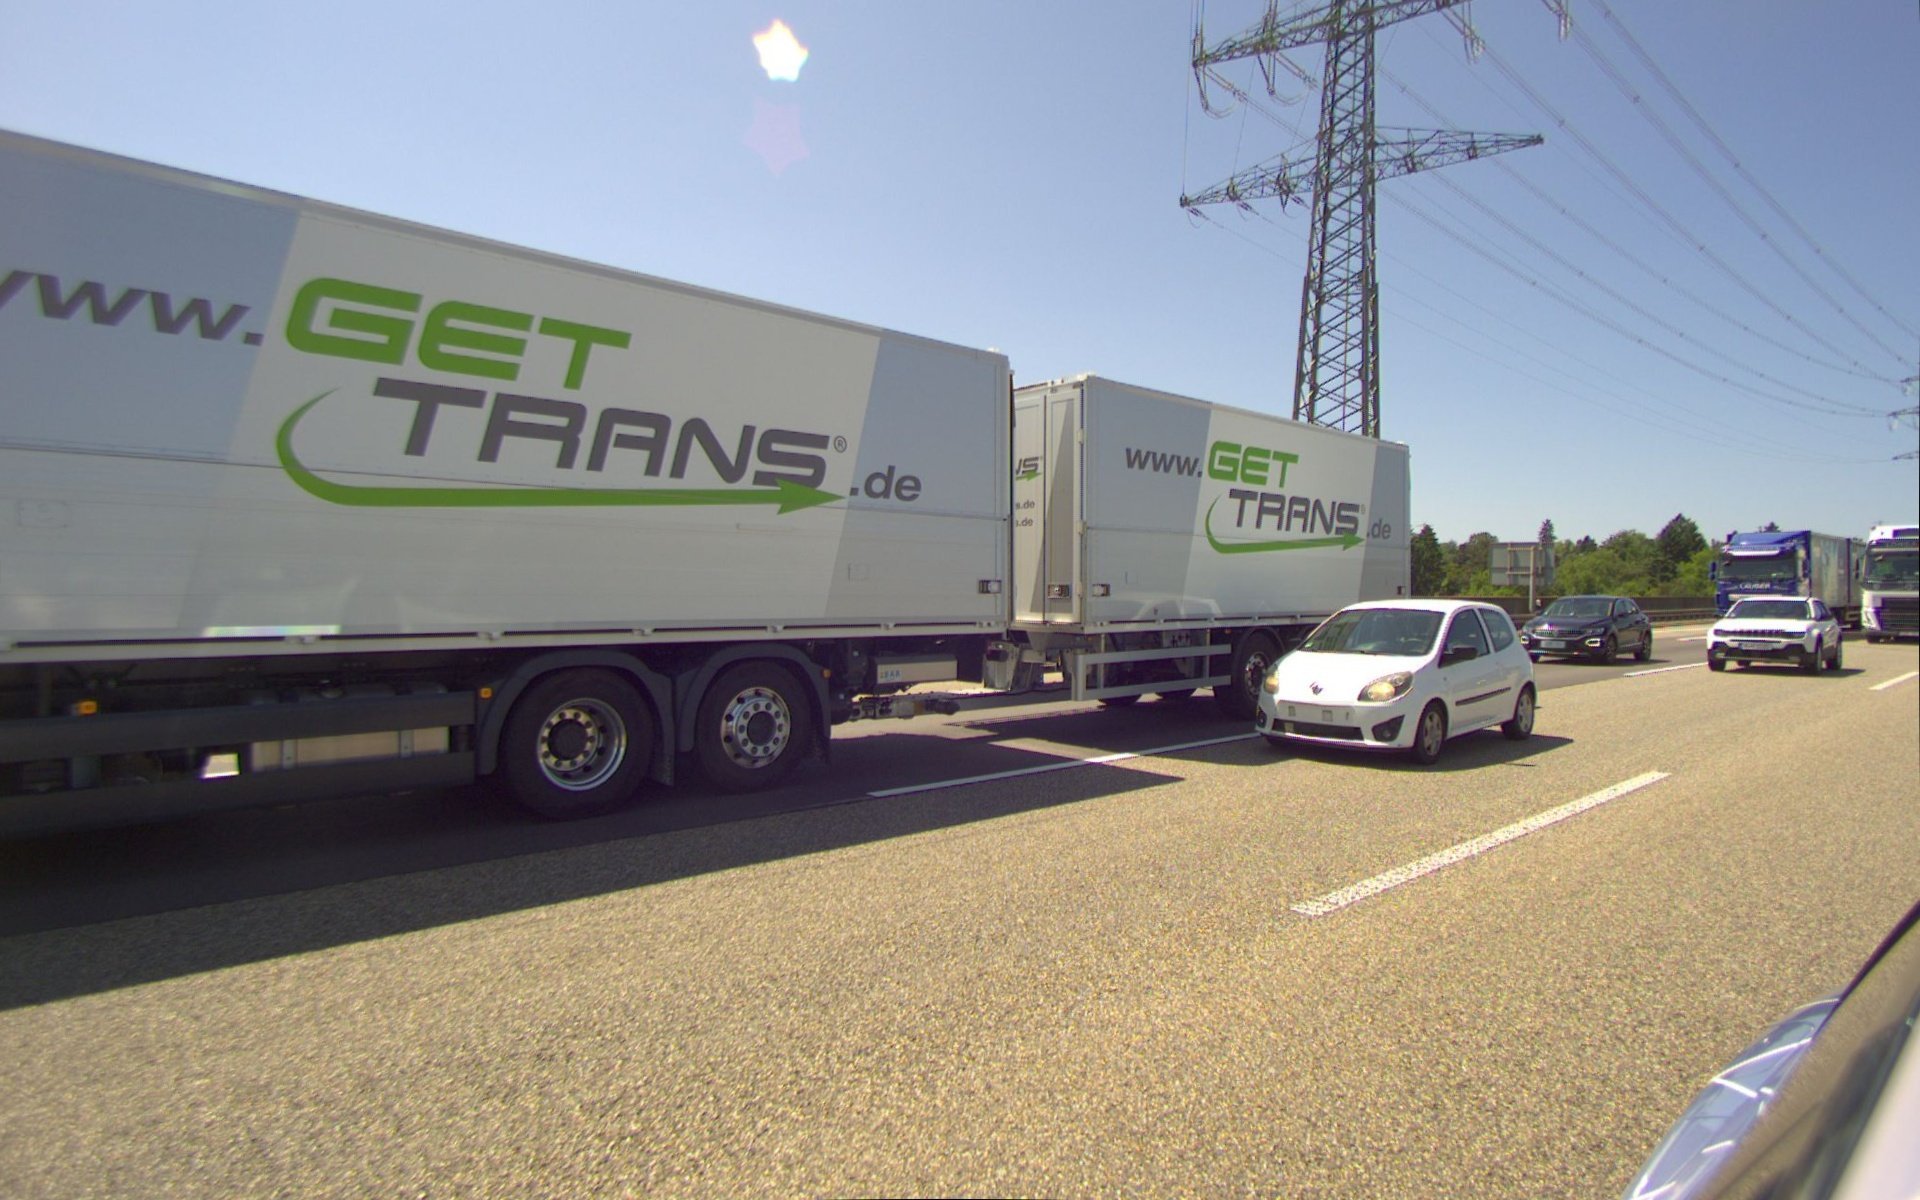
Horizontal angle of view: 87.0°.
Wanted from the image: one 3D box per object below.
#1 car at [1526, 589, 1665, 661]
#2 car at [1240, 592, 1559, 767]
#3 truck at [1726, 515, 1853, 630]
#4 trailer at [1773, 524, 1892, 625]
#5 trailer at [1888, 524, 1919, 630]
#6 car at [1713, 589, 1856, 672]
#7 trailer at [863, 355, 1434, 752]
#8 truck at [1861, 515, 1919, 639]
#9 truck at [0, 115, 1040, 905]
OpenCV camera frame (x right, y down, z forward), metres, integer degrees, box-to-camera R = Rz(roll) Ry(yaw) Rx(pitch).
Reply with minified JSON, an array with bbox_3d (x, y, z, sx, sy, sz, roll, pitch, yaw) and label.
[{"bbox_3d":[14.786,0.523,23.473,3.821,1.524,1.708,-1,0,-41],"label":"car"},{"bbox_3d":[4.542,0.652,10.256,3.566,1.458,1.582,-1,0,-41],"label":"car"},{"bbox_3d":[31.996,-0.986,38.908,7.788,4.018,2.515,0,0,-41],"label":"truck"},{"bbox_3d":[38.951,-1.107,45.013,10.698,4.044,2.541,-1,0,-41],"label":"trailer"},{"bbox_3d":[39.274,-0.926,39.887,9.605,3.918,2.895,-1,0,-41],"label":"trailer"},{"bbox_3d":[16.991,0.548,20.810,3.688,1.554,1.720,0,0,-41],"label":"car"},{"bbox_3d":[2.890,-0.450,13.049,8.148,3.640,2.848,0,0,-42],"label":"trailer"},{"bbox_3d":[33.205,-0.790,34.490,6.624,3.941,2.911,-1,0,-41],"label":"truck"},{"bbox_3d":[-4.188,-0.423,6.776,10.581,3.648,2.855,0,0,-41],"label":"truck"}]
